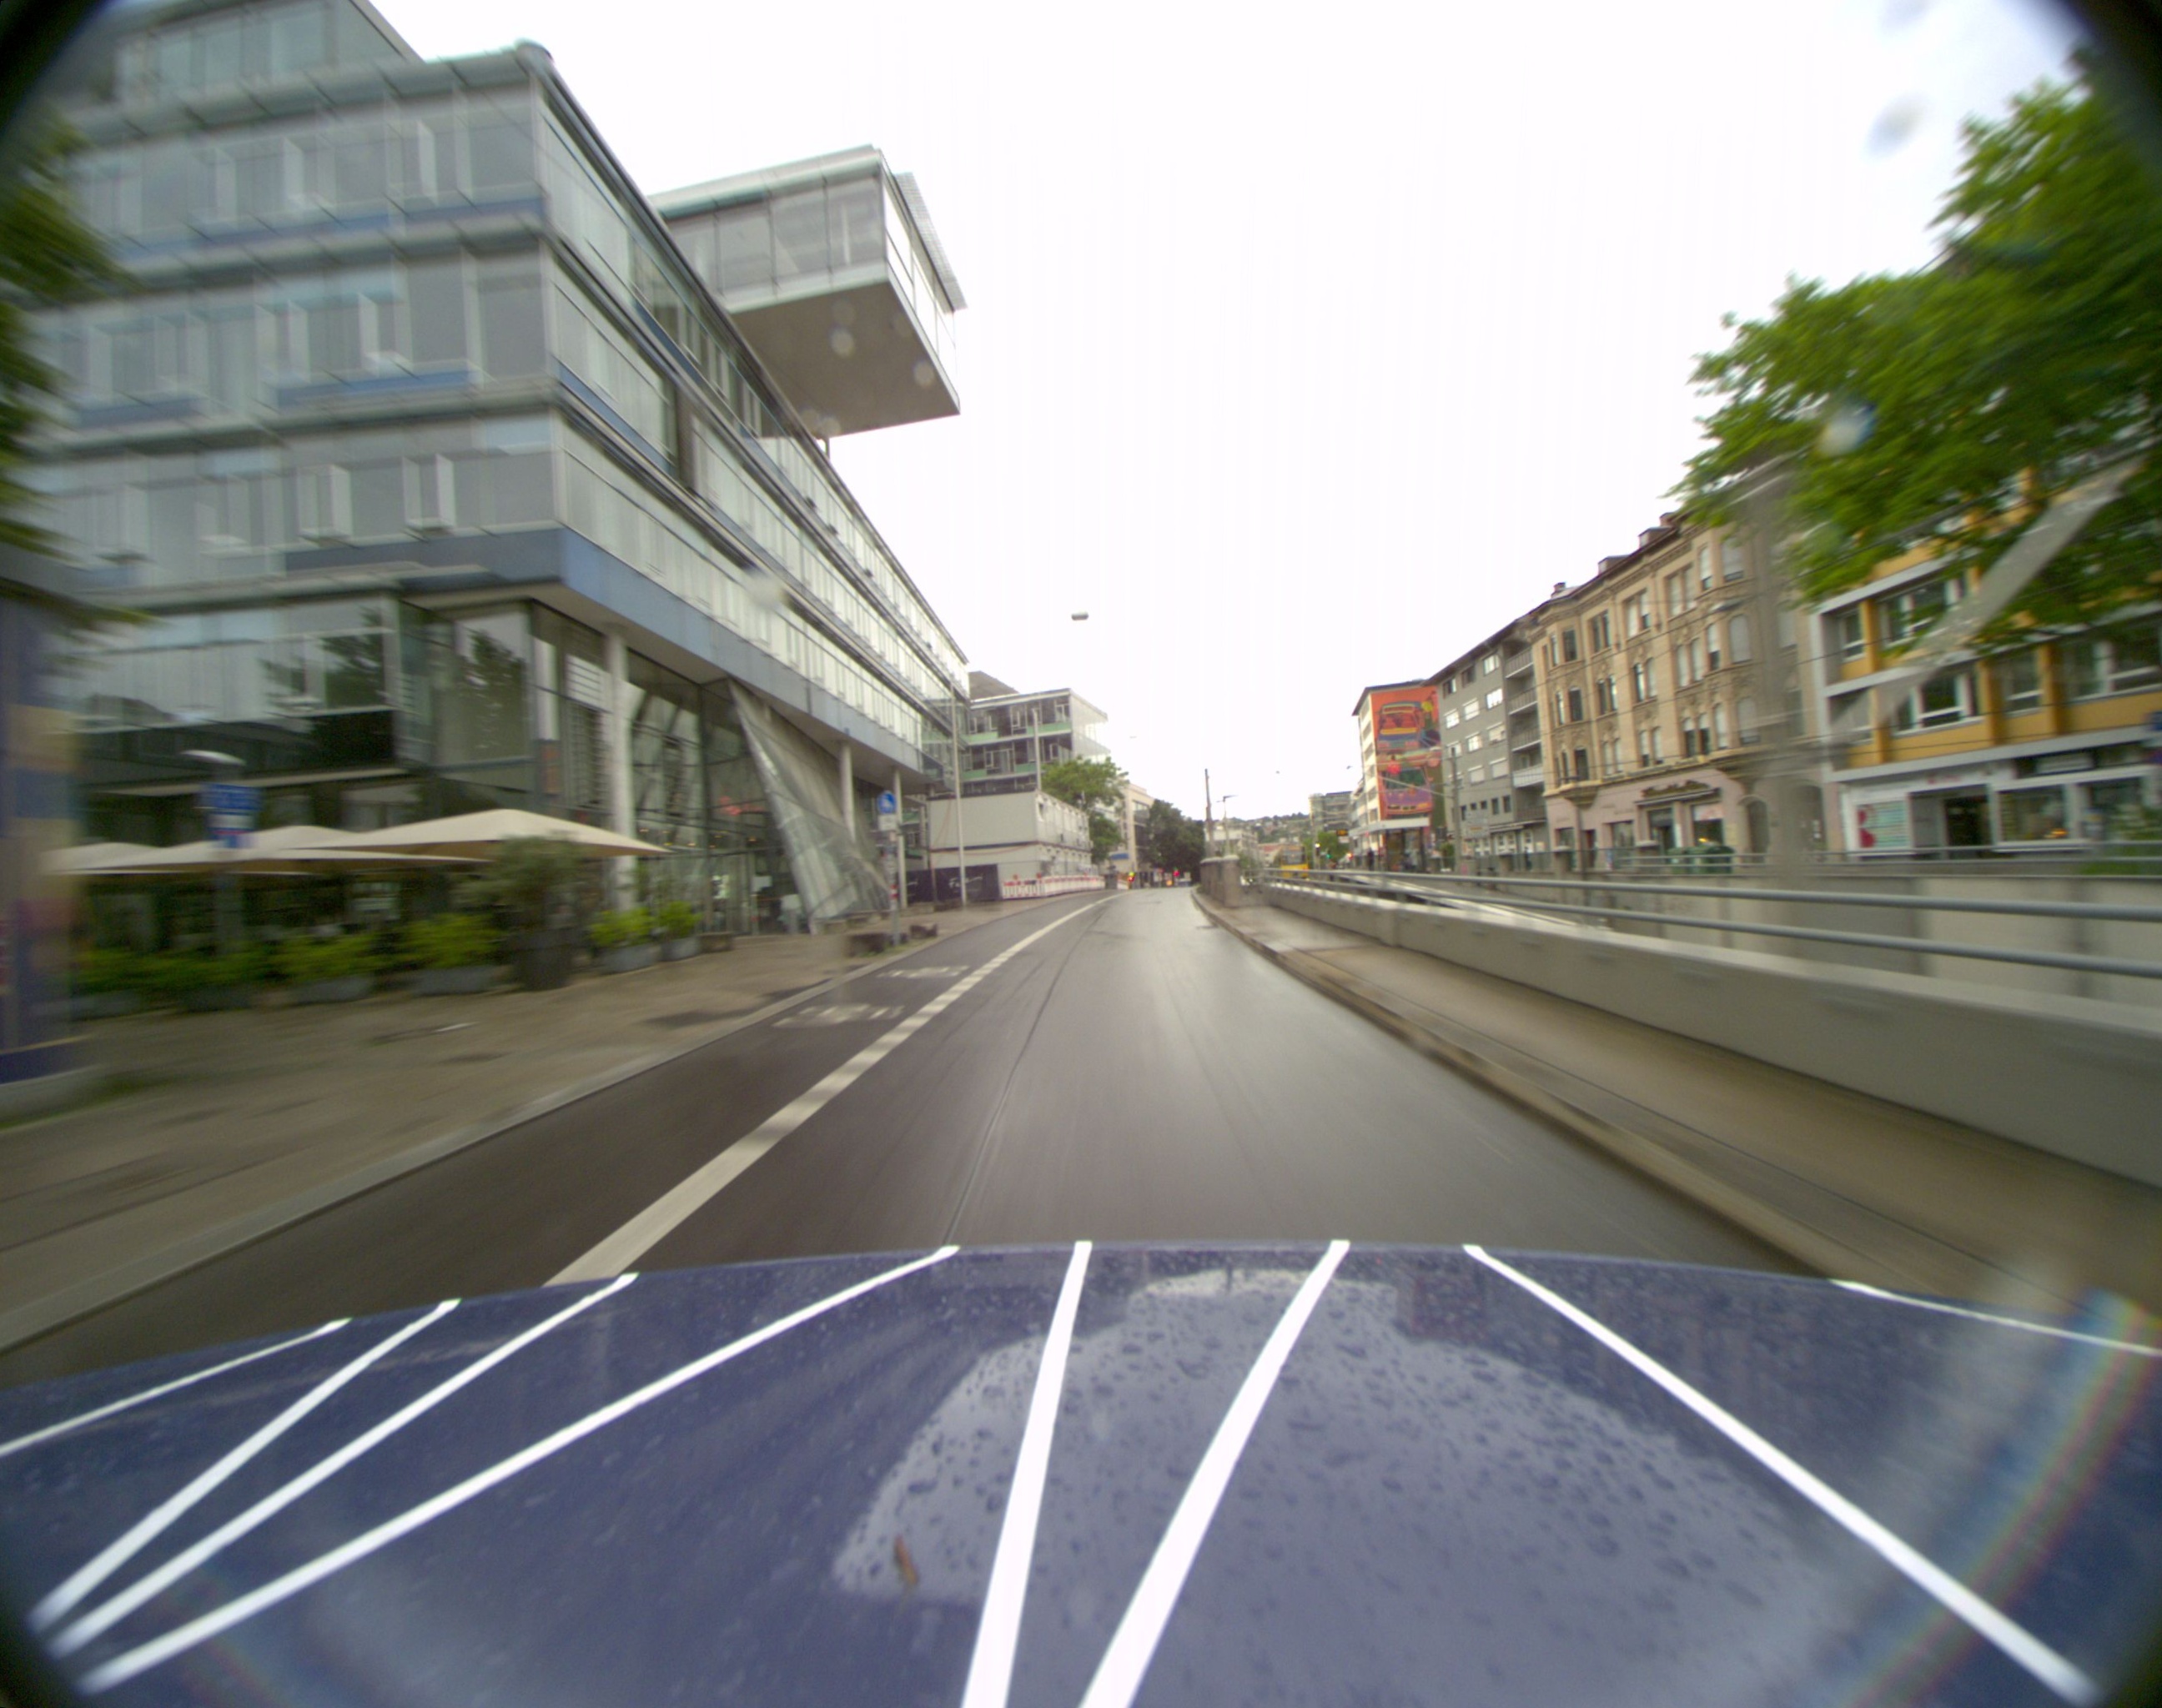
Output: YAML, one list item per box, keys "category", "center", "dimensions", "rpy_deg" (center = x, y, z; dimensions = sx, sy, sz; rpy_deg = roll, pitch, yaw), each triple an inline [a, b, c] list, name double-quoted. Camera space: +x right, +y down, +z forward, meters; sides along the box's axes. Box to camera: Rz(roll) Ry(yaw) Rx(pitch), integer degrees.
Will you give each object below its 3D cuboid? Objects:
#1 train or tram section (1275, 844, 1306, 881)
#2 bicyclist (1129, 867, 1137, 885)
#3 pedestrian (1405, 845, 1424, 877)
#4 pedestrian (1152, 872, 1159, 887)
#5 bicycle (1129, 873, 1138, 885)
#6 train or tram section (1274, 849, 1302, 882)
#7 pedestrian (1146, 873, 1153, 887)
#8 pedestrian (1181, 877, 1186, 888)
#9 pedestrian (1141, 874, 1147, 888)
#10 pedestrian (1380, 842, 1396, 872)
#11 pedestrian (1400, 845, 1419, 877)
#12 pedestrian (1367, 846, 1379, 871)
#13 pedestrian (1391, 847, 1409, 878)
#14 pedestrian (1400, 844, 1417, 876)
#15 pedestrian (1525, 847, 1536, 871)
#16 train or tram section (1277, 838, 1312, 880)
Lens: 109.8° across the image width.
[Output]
- category: "train or tram section"
  center: [23.785, 1.113, 86.644]
  dimensions: [2.783, 3.668, 9.524]
  rpy_deg: [-5, -4, 13]
- category: "bicyclist"
  center: [4.629, 1.960, 67.626]
  dimensions: [0.663, 1.628, 0.794]
  rpy_deg: [1, -2, 9]
- category: "pedestrian"
  center: [17.434, 0.343, 39.755]
  dimensions: [0.773, 1.639, 0.778]
  rpy_deg: [2, 0, 14]
- category: "pedestrian"
  center: [9.345, 3.196, 95.514]
  dimensions: [0.719, 1.750, 0.959]
  rpy_deg: [-3, -3, 6]
- category: "bicycle"
  center: [4.666, 2.270, 67.756]
  dimensions: [0.663, 1.046, 2.059]
  rpy_deg: [1, -3, 9]
- category: "train or tram section"
  center: [25.983, 1.517, 95.908]
  dimensions: [2.783, 3.668, 9.524]
  rpy_deg: [-5, -4, 13]
- category: "pedestrian"
  center: [8.530, 3.237, 94.769]
  dimensions: [0.719, 1.750, 0.959]
  rpy_deg: [-3, -3, 6]
- category: "pedestrian"
  center: [16.108, 4.502, 119.108]
  dimensions: [0.559, 1.613, 0.485]
  rpy_deg: [-5, -5, 16]
- category: "pedestrian"
  center: [7.946, 3.421, 95.655]
  dimensions: [0.598, 1.750, 0.846]
  rpy_deg: [-4, -3, 12]
- category: "pedestrian"
  center: [17.512, 0.192, 43.347]
  dimensions: [0.633, 1.650, 0.683]
  rpy_deg: [-4, -2, 14]
- category: "pedestrian"
  center: [17.547, 0.373, 40.577]
  dimensions: [0.773, 1.639, 0.778]
  rpy_deg: [2, 0, 14]
- category: "pedestrian"
  center: [18.761, 0.283, 48.837]
  dimensions: [0.558, 1.528, 0.517]
  rpy_deg: [-4, 1, 11]
- category: "pedestrian"
  center: [17.457, 0.464, 41.627]
  dimensions: [0.773, 1.639, 0.778]
  rpy_deg: [2, 0, 14]
- category: "pedestrian"
  center: [16.787, 0.319, 38.958]
  dimensions: [0.678, 1.639, 0.896]
  rpy_deg: [1, 0, 14]
- category: "pedestrian"
  center: [30.953, 0.343, 52.350]
  dimensions: [0.422, 1.672, 0.608]
  rpy_deg: [-5, -2, 21]
- category: "train or tram section"
  center: [21.592, 0.693, 77.291]
  dimensions: [2.783, 3.668, 9.729]
  rpy_deg: [-5, -4, 13]
